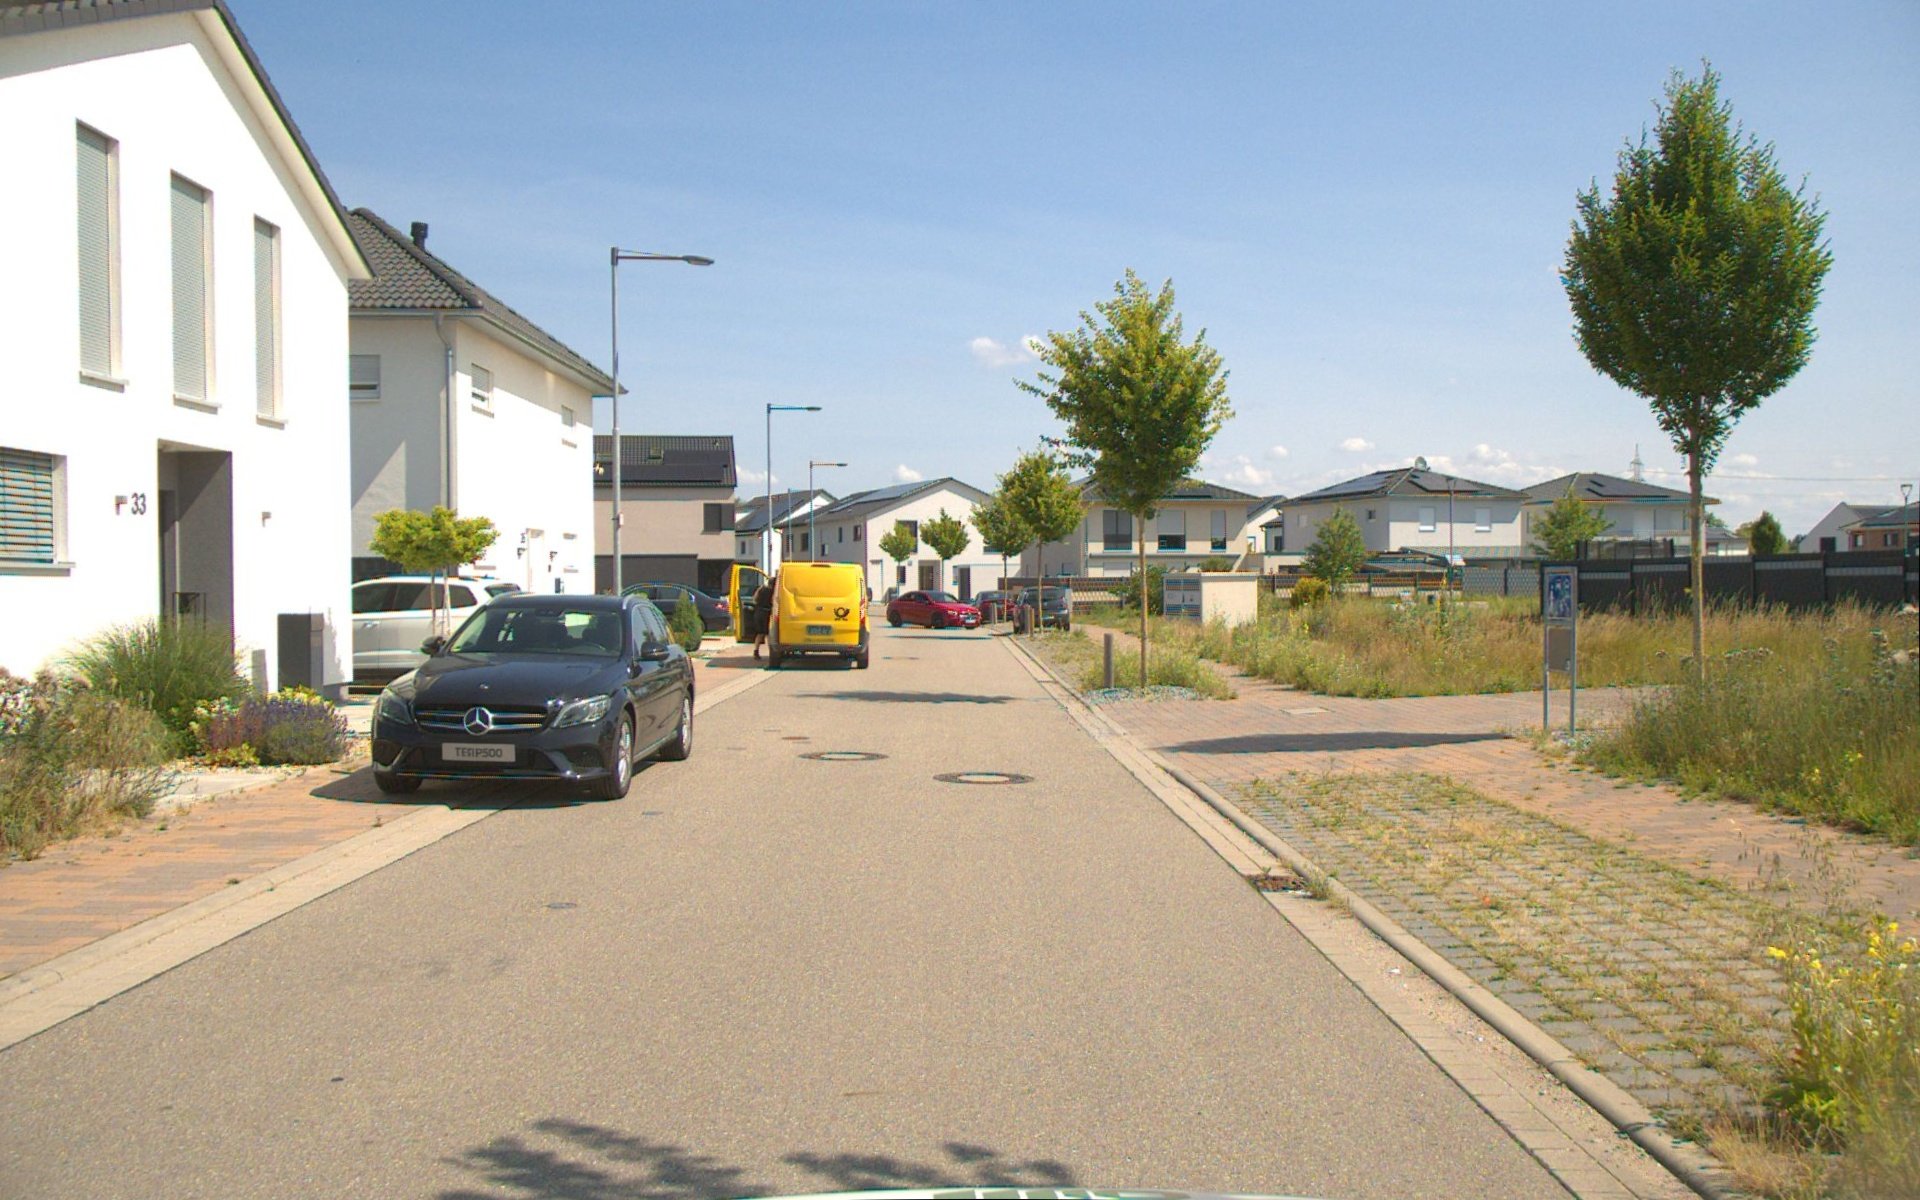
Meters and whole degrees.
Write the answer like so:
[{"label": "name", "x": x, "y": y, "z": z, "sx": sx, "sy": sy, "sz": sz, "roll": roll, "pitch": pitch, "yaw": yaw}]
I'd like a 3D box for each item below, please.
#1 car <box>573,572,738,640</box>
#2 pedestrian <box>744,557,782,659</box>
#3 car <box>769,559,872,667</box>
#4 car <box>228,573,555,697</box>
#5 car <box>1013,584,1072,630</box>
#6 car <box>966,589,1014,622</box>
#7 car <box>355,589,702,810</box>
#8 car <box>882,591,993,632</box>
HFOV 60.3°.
[{"label": "car", "x": -8.073, "y": 0.168, "z": 43.804, "sx": 4.094, "sy": 1.531, "sz": 1.807, "roll": 4, "pitch": -1, "yaw": -17}, {"label": "pedestrian", "x": -4.044, "y": 0.160, "z": 33.959, "sx": 0.638, "sy": 2.049, "sz": 1.123, "roll": -1, "pitch": -1, "yaw": -1}, {"label": "car", "x": -2.764, "y": 0.256, "z": 33.135, "sx": 1.903, "sy": 2.016, "sz": 4.213, "roll": -1, "pitch": -1, "yaw": -4}, {"label": "car", "x": -7.981, "y": 0.456, "z": 23.429, "sx": 3.982, "sy": 1.609, "sz": 1.785, "roll": 1, "pitch": 1, "yaw": 5}, {"label": "car", "x": 2.611, "y": 0.248, "z": 53.272, "sx": 1.606, "sy": 1.427, "sz": 3.809, "roll": -1, "pitch": -1, "yaw": -2}, {"label": "car", "x": 1.275, "y": 0.255, "z": 71.869, "sx": 1.597, "sy": 1.346, "sz": 3.827, "roll": 0, "pitch": -2, "yaw": -7}, {"label": "car", "x": -3.233, "y": 0.659, "z": 13.244, "sx": 1.710, "sy": 1.429, "sz": 4.159, "roll": 2, "pitch": 0, "yaw": -1}, {"label": "car", "x": -0.907, "y": 0.411, "z": 63.234, "sx": 1.978, "sy": 1.456, "sz": 4.641, "roll": 0, "pitch": 1, "yaw": -36}]
